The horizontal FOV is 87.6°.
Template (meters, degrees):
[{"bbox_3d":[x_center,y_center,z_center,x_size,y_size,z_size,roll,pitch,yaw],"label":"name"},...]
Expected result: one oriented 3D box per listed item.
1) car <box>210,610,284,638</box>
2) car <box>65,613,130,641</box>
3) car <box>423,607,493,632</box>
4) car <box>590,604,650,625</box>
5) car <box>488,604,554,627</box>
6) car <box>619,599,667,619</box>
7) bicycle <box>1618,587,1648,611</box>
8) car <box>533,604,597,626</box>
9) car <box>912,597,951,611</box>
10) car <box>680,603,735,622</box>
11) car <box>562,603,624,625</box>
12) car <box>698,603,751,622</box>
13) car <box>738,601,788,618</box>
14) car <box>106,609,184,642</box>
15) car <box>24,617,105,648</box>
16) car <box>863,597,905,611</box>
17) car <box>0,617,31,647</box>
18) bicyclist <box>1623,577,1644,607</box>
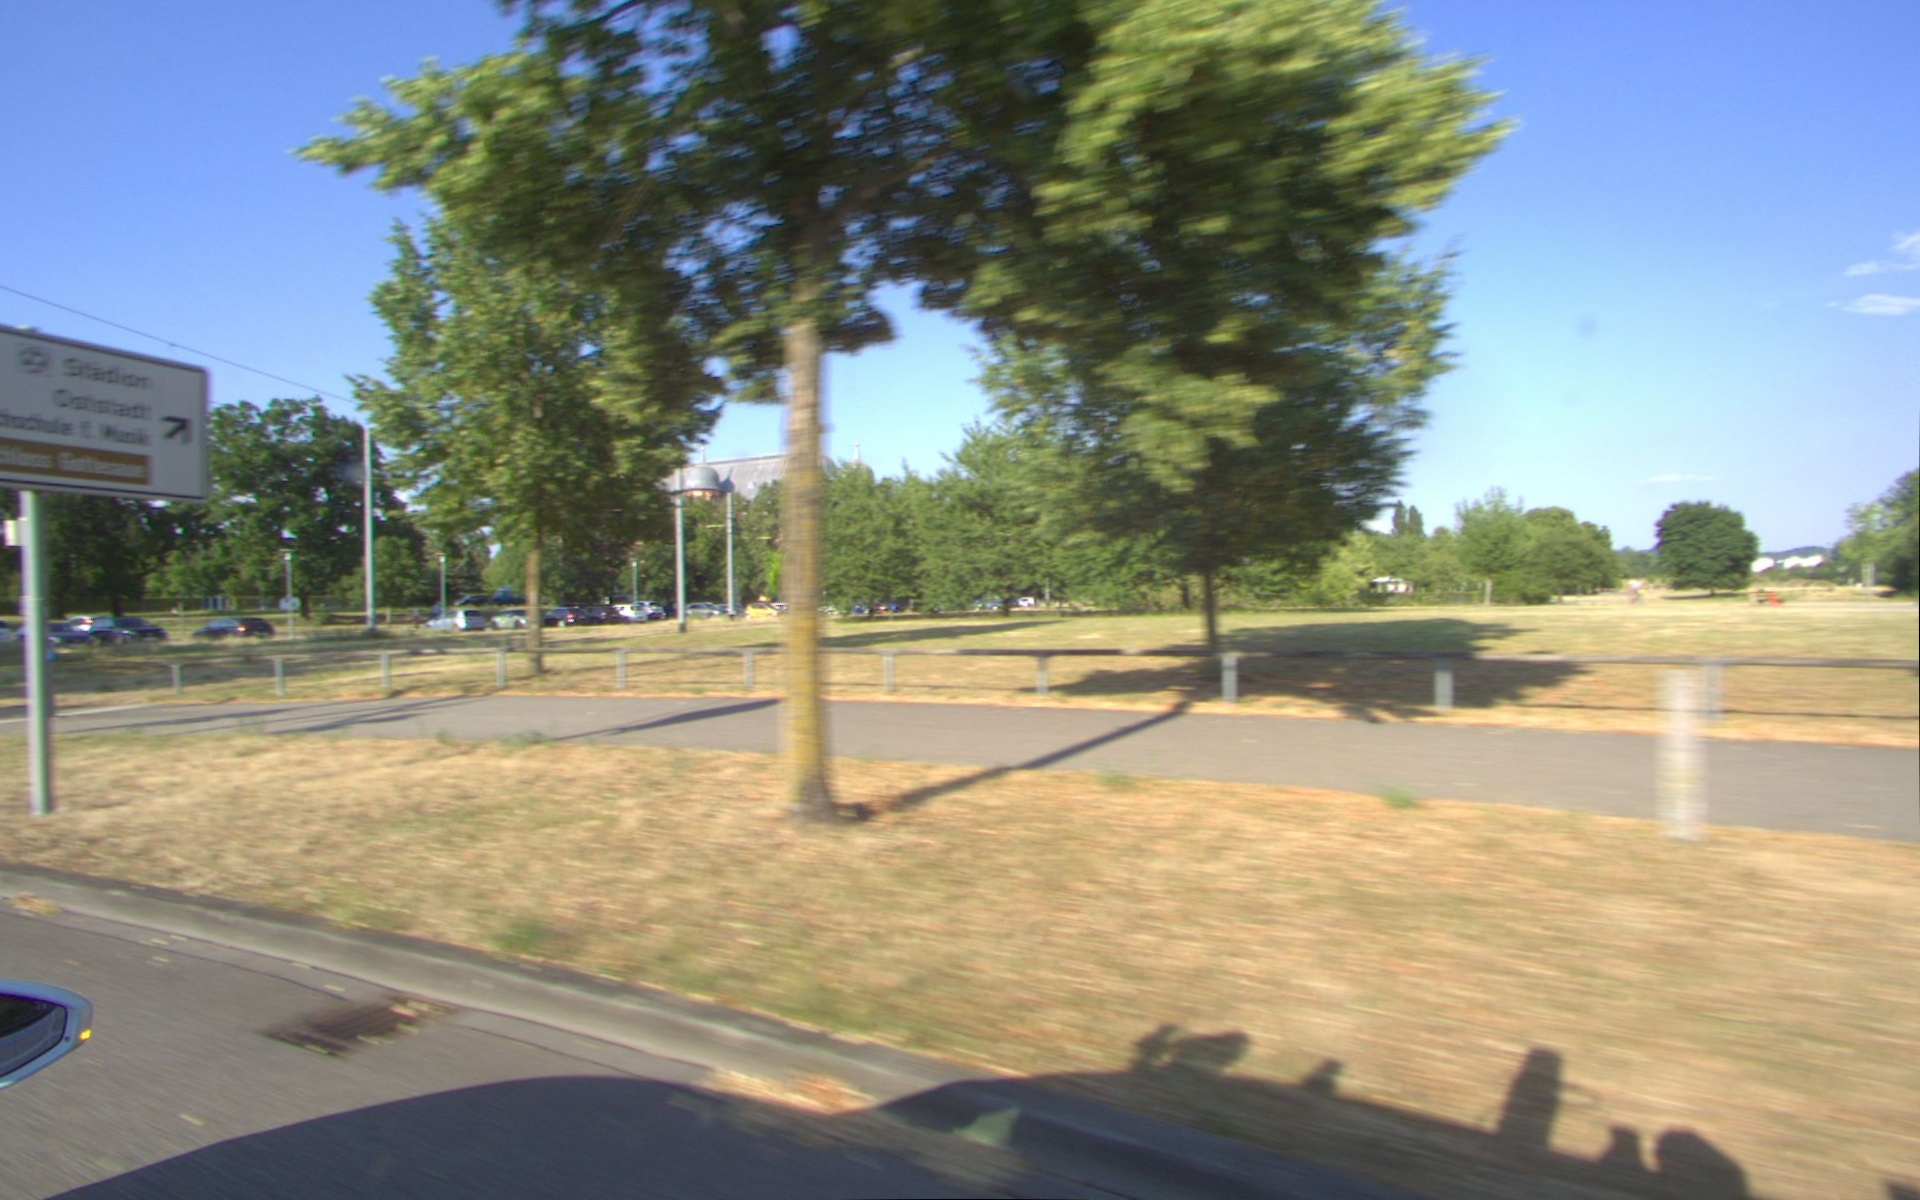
[{"bbox_3d":[-35.078,1.179,49.255,3.912,1.327,1.598,-1,0,32],"label":"car"},{"bbox_3d":[-47.039,1.466,54.621,3.912,1.420,1.598,-1,0,32],"label":"car"},{"bbox_3d":[-30.235,1.152,60.285,3.938,1.421,1.820,-1,0,28],"label":"car"},{"bbox_3d":[-24.328,1.039,71.587,3.938,1.421,1.820,-1,0,28],"label":"car"},{"bbox_3d":[-28.356,1.013,64.645,3.938,1.421,1.820,-1,0,28],"label":"car"},{"bbox_3d":[-27.950,0.789,88.354,3.938,1.694,1.820,-1,0,28],"label":"car"},{"bbox_3d":[42.293,-0.061,62.939,0.385,1.468,1.944,-1,-1,-4],"label":"bicycle"},{"bbox_3d":[-26.374,0.995,66.816,3.938,1.421,1.820,-1,0,28],"label":"car"},{"bbox_3d":[-3.211,0.445,113.027,3.938,1.421,1.820,-1,0,28],"label":"car"},{"bbox_3d":[-19.963,0.955,79.157,3.938,1.421,1.820,-1,0,28],"label":"car"},{"bbox_3d":[-25.245,0.951,68.799,3.938,1.421,1.820,-1,0,28],"label":"car"},{"bbox_3d":[-19.185,1.033,81.495,3.938,1.421,1.820,-1,0,28],"label":"car"},{"bbox_3d":[-16.933,0.825,86.200,3.938,1.421,1.820,-1,0,28],"label":"car"},{"bbox_3d":[-37.230,1.149,45.716,3.912,1.420,1.598,-1,0,32],"label":"car"},{"bbox_3d":[-38.833,1.404,43.401,3.912,1.237,1.598,-1,0,32],"label":"car"},{"bbox_3d":[-7.907,0.437,104.203,3.938,1.421,1.820,-1,0,28],"label":"car"},{"bbox_3d":[-48.172,1.584,50.014,3.912,1.420,1.598,-1,0,32],"label":"car"},{"bbox_3d":[42.321,-0.489,62.892,0.625,1.802,0.929,-1,-1,-4],"label":"bicyclist"}]
